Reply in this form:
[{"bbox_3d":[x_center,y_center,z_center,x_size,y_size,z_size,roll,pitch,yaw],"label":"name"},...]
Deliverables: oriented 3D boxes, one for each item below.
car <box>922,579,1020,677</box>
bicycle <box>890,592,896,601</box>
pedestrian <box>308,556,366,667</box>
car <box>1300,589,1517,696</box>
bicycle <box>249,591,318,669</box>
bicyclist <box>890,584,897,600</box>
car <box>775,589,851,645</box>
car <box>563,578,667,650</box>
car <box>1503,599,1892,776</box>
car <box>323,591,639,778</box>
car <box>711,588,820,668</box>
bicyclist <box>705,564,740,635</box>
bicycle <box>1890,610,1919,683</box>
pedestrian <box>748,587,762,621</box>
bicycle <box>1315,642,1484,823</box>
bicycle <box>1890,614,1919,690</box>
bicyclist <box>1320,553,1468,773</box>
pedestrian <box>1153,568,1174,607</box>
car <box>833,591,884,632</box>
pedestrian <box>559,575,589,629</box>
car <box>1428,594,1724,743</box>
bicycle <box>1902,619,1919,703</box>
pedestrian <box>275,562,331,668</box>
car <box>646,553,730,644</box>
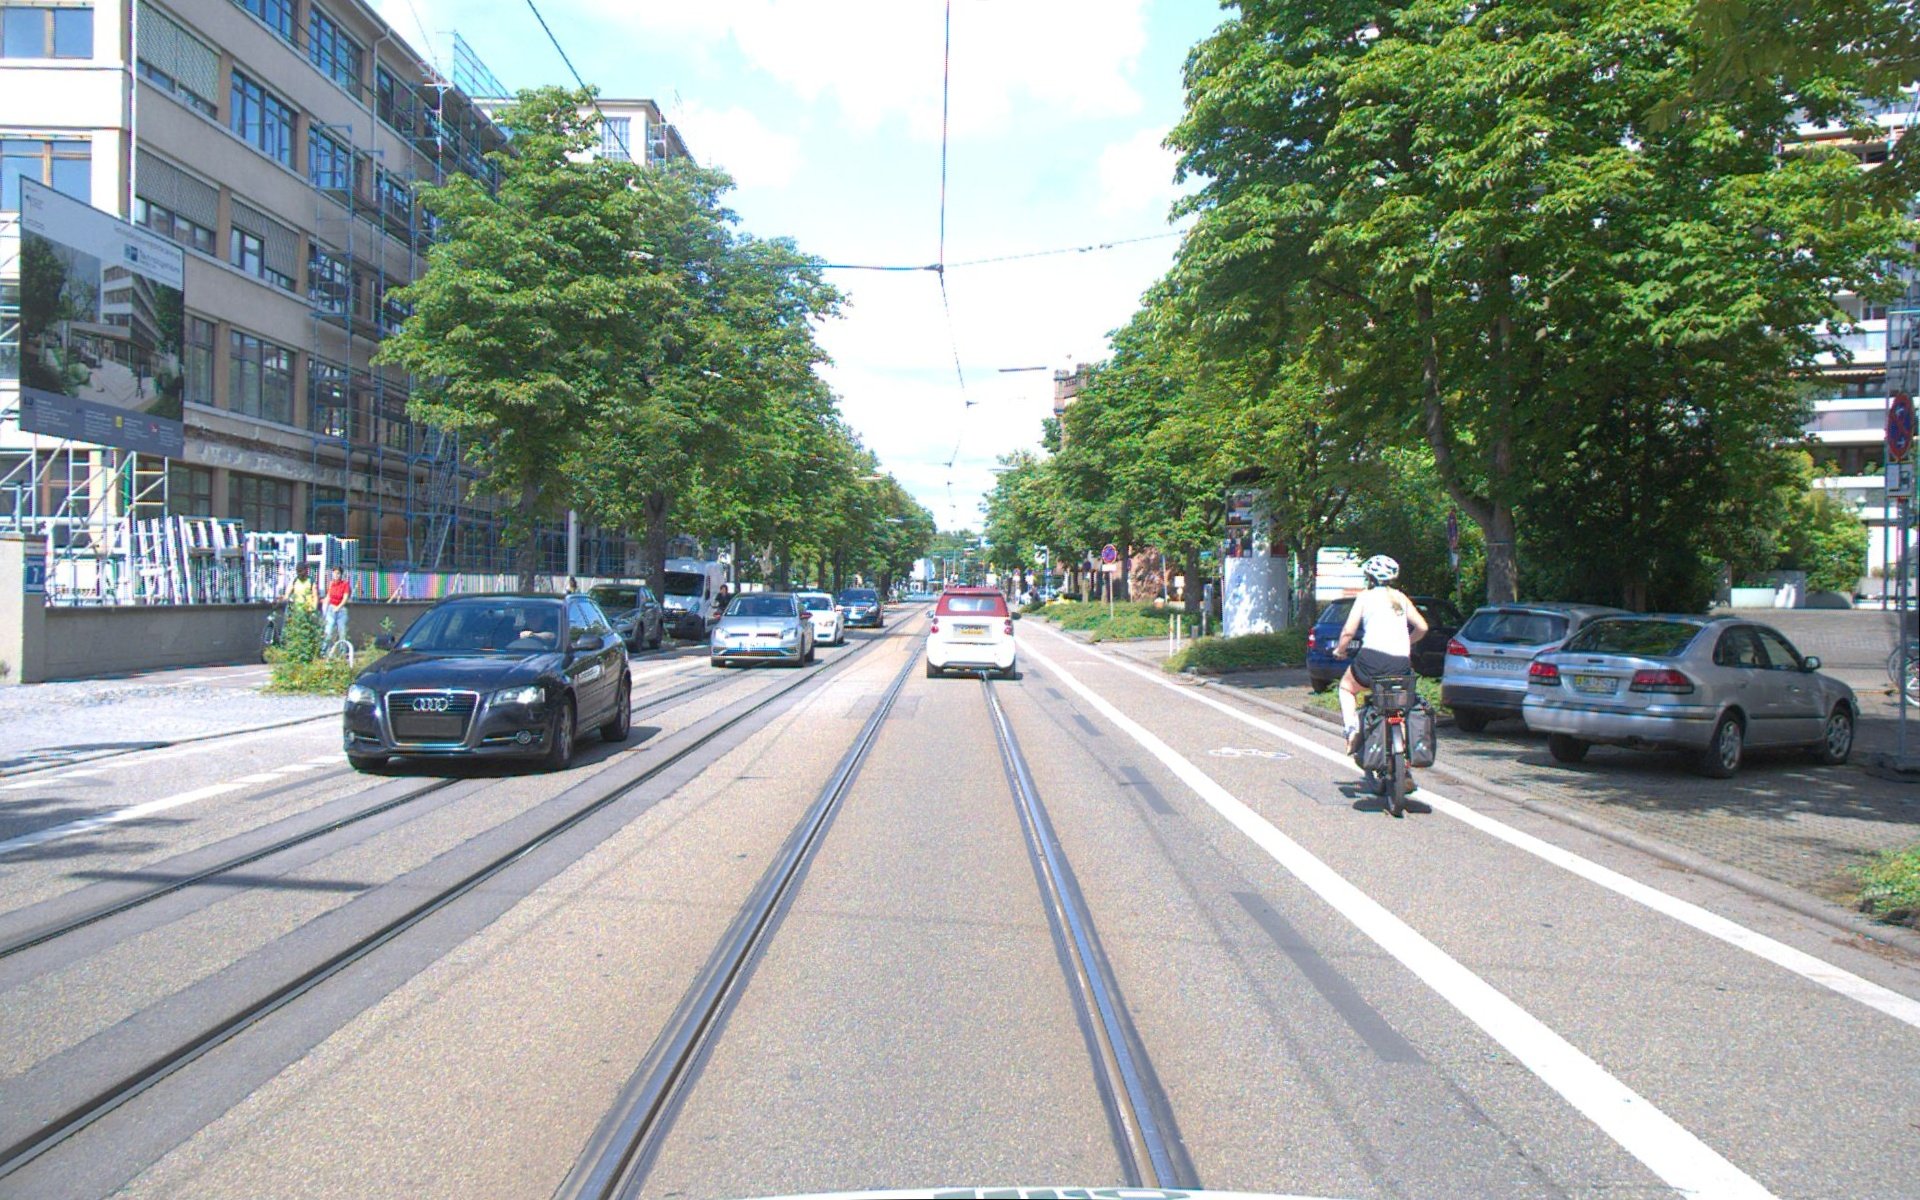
[{"bbox_3d":[0.149,0.506,29.651,1.631,1.653,3.619,0,-1,-1],"label":"car"},{"bbox_3d":[-7.150,-0.369,176.576,0.605,0.990,1.717,1,0,0],"label":"bicycle"},{"bbox_3d":[-10.911,0.193,28.971,0.694,1.863,0.661,4,1,-6],"label":"pedestrian"},{"bbox_3d":[7.047,0.608,25.799,1.588,1.512,3.973,0,0,43],"label":"car"},{"bbox_3d":[-11.840,0.503,28.976,0.437,1.309,1.739,1,0,2],"label":"bicycle"},{"bbox_3d":[-7.104,-0.838,176.513,0.645,1.607,0.945,2,0,-2],"label":"bicyclist"},{"bbox_3d":[-3.945,0.443,45.035,1.652,1.430,4.227,0,0,0],"label":"car"},{"bbox_3d":[-8.709,0.338,42.057,1.768,1.691,4.102,2,0,0],"label":"car"},{"bbox_3d":[7.197,0.754,15.976,4.200,1.445,1.700,0,1,-39],"label":"car"},{"bbox_3d":[-4.014,0.634,14.522,1.688,1.400,3.999,0,0,-2],"label":"car"},{"bbox_3d":[-3.772,0.511,32.670,1.737,1.441,3.851,-1,0,-1],"label":"car"},{"bbox_3d":[-7.001,-0.017,48.779,0.859,2.049,0.833,-1,-1,-2],"label":"bicyclist"},{"bbox_3d":[15.345,0.728,25.449,1.793,1.115,0.450,0,1,31],"label":"bicycle"},{"bbox_3d":[-12.258,0.245,98.781,0.788,2.049,0.484,1,0,-9],"label":"pedestrian"},{"bbox_3d":[3.234,0.930,12.382,0.856,1.145,2.137,2,0,5],"label":"bicycle"},{"bbox_3d":[14.761,0.780,24.411,1.793,1.115,0.450,1,1,31],"label":"bicycle"},{"bbox_3d":[3.248,0.453,12.471,0.871,1.555,1.086,2,0,5],"label":"bicyclist"},{"bbox_3d":[11.191,-0.683,90.950,0.957,2.049,1.093,2,0,-2],"label":"pedestrian"},{"bbox_3d":[-3.987,0.420,65.509,1.764,1.534,4.535,1,0,-1],"label":"car"},{"bbox_3d":[-12.088,0.058,51.777,0.749,1.648,0.594,2,0,-1],"label":"pedestrian"},{"bbox_3d":[7.170,0.736,19.087,3.773,1.500,1.628,1,1,-42],"label":"car"},{"bbox_3d":[13.746,0.833,22.310,1.793,1.114,0.450,0,3,31],"label":"bicycle"},{"bbox_3d":[-11.496,0.260,28.963,0.694,1.824,0.661,2,0,-6],"label":"pedestrian"},{"bbox_3d":[-8.605,-0.057,52.730,1.733,2.685,5.321,2,0,-1],"label":"car"}]
